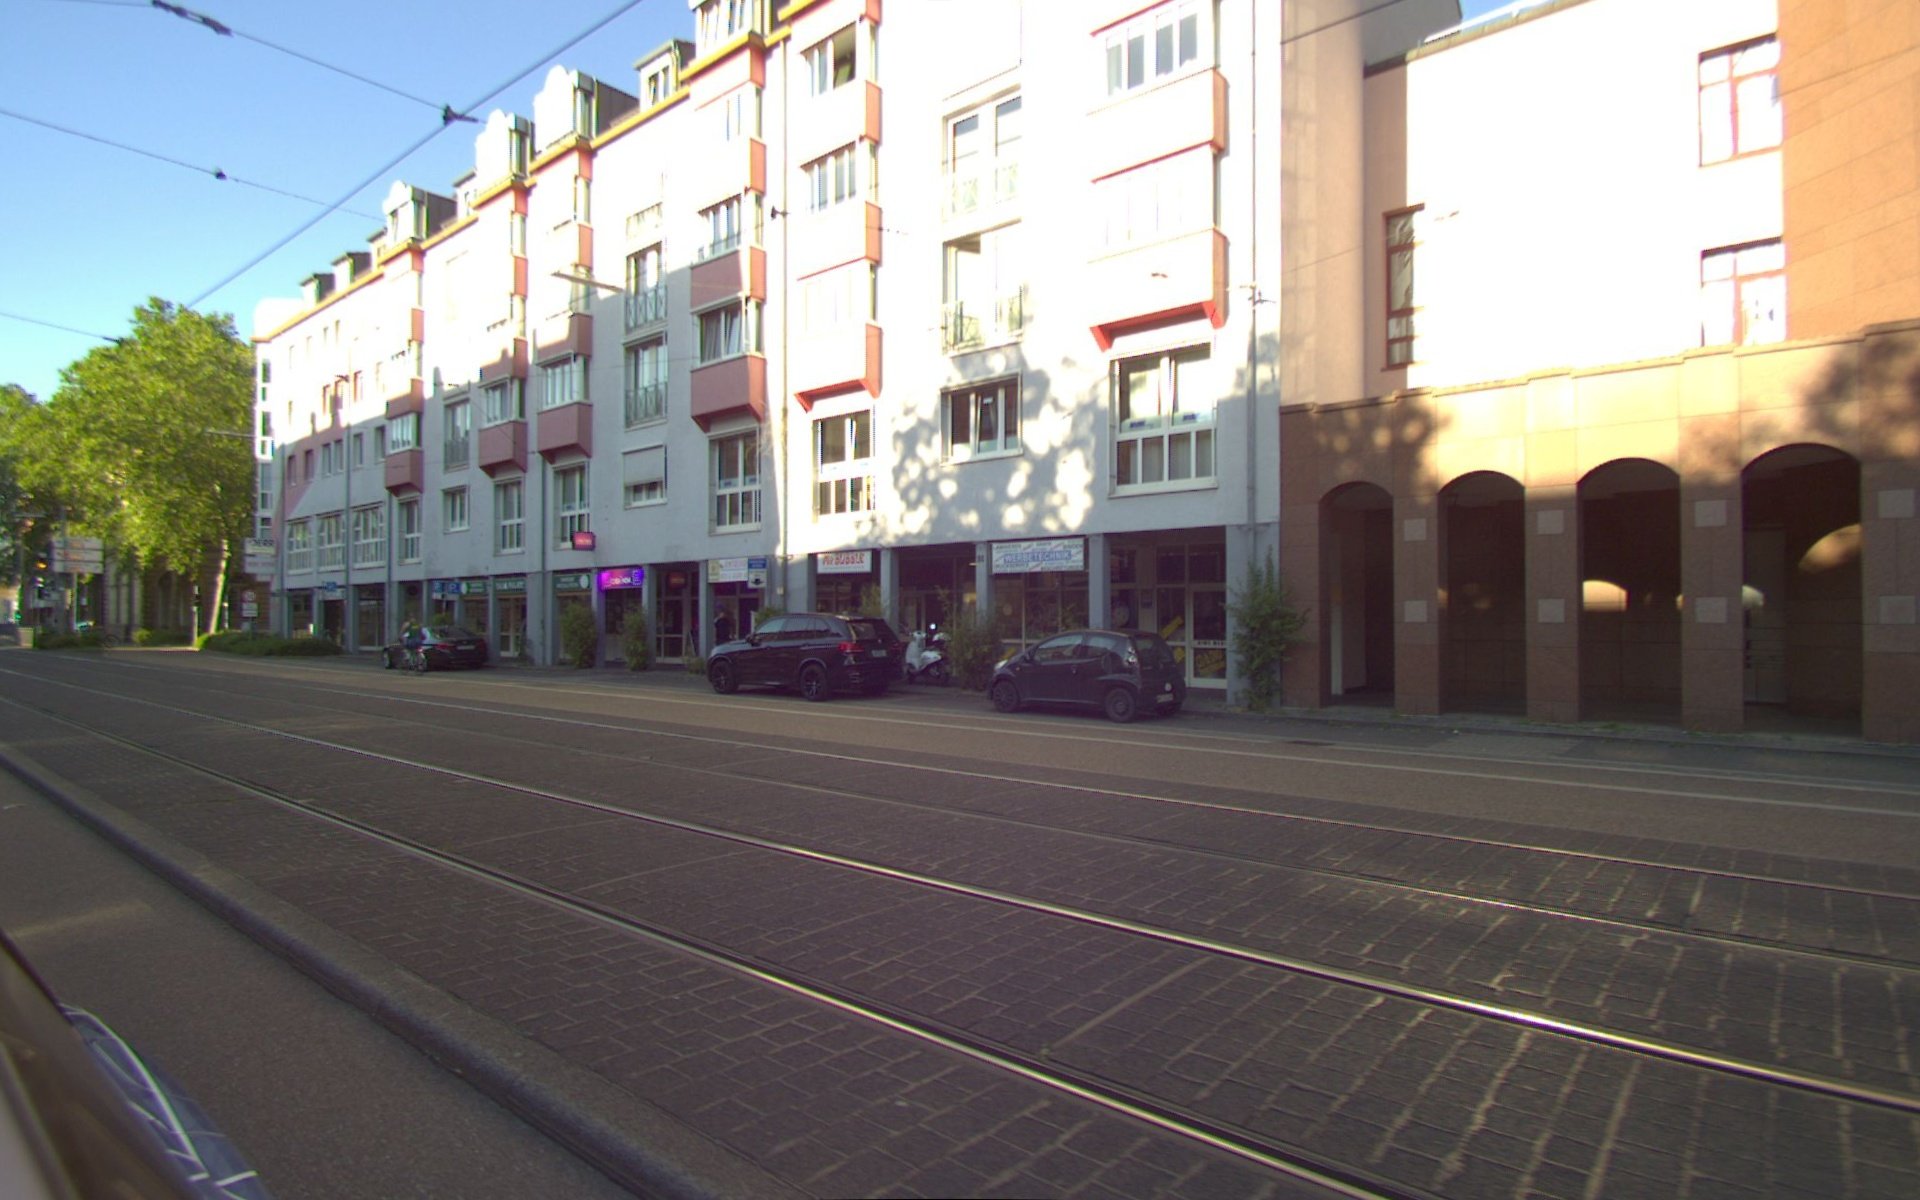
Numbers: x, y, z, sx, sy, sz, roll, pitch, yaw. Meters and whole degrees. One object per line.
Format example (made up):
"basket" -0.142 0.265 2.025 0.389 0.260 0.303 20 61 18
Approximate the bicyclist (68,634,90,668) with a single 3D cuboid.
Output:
"bicyclist" -46.715 2.698 53.659 0.525 1.725 0.746 -1 -1 -5

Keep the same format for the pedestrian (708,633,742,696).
"pedestrian" -6.562 1.777 28.254 0.744 1.725 0.608 -2 -2 38

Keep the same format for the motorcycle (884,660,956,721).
"motorcycle" -0.849 1.894 21.387 1.542 1.142 0.564 0 1 40

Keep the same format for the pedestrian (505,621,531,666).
"pedestrian" -17.235 1.705 39.469 0.615 1.725 0.736 -2 -2 37

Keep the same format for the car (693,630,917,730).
"car" -3.388 1.590 21.595 4.815 1.725 2.070 0 1 40

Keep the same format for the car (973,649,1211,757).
"car" 2.171 1.641 17.120 3.584 1.461 1.849 -1 0 43

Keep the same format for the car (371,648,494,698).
"car" -17.687 2.388 33.859 4.700 1.450 1.852 -1 0 38

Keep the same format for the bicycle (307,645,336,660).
"bicycle" -29.672 2.438 47.028 1.806 0.663 0.452 -1 1 35

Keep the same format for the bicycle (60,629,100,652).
"bicycle" -46.712 2.125 53.743 0.575 1.085 1.901 -2 1 -4

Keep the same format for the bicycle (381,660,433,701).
"bicycle" -15.876 2.276 29.019 2.184 1.086 0.576 -1 -3 41

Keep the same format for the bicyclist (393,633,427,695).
"bicyclist" -15.719 1.821 28.902 0.745 1.725 0.565 -1 -3 40
